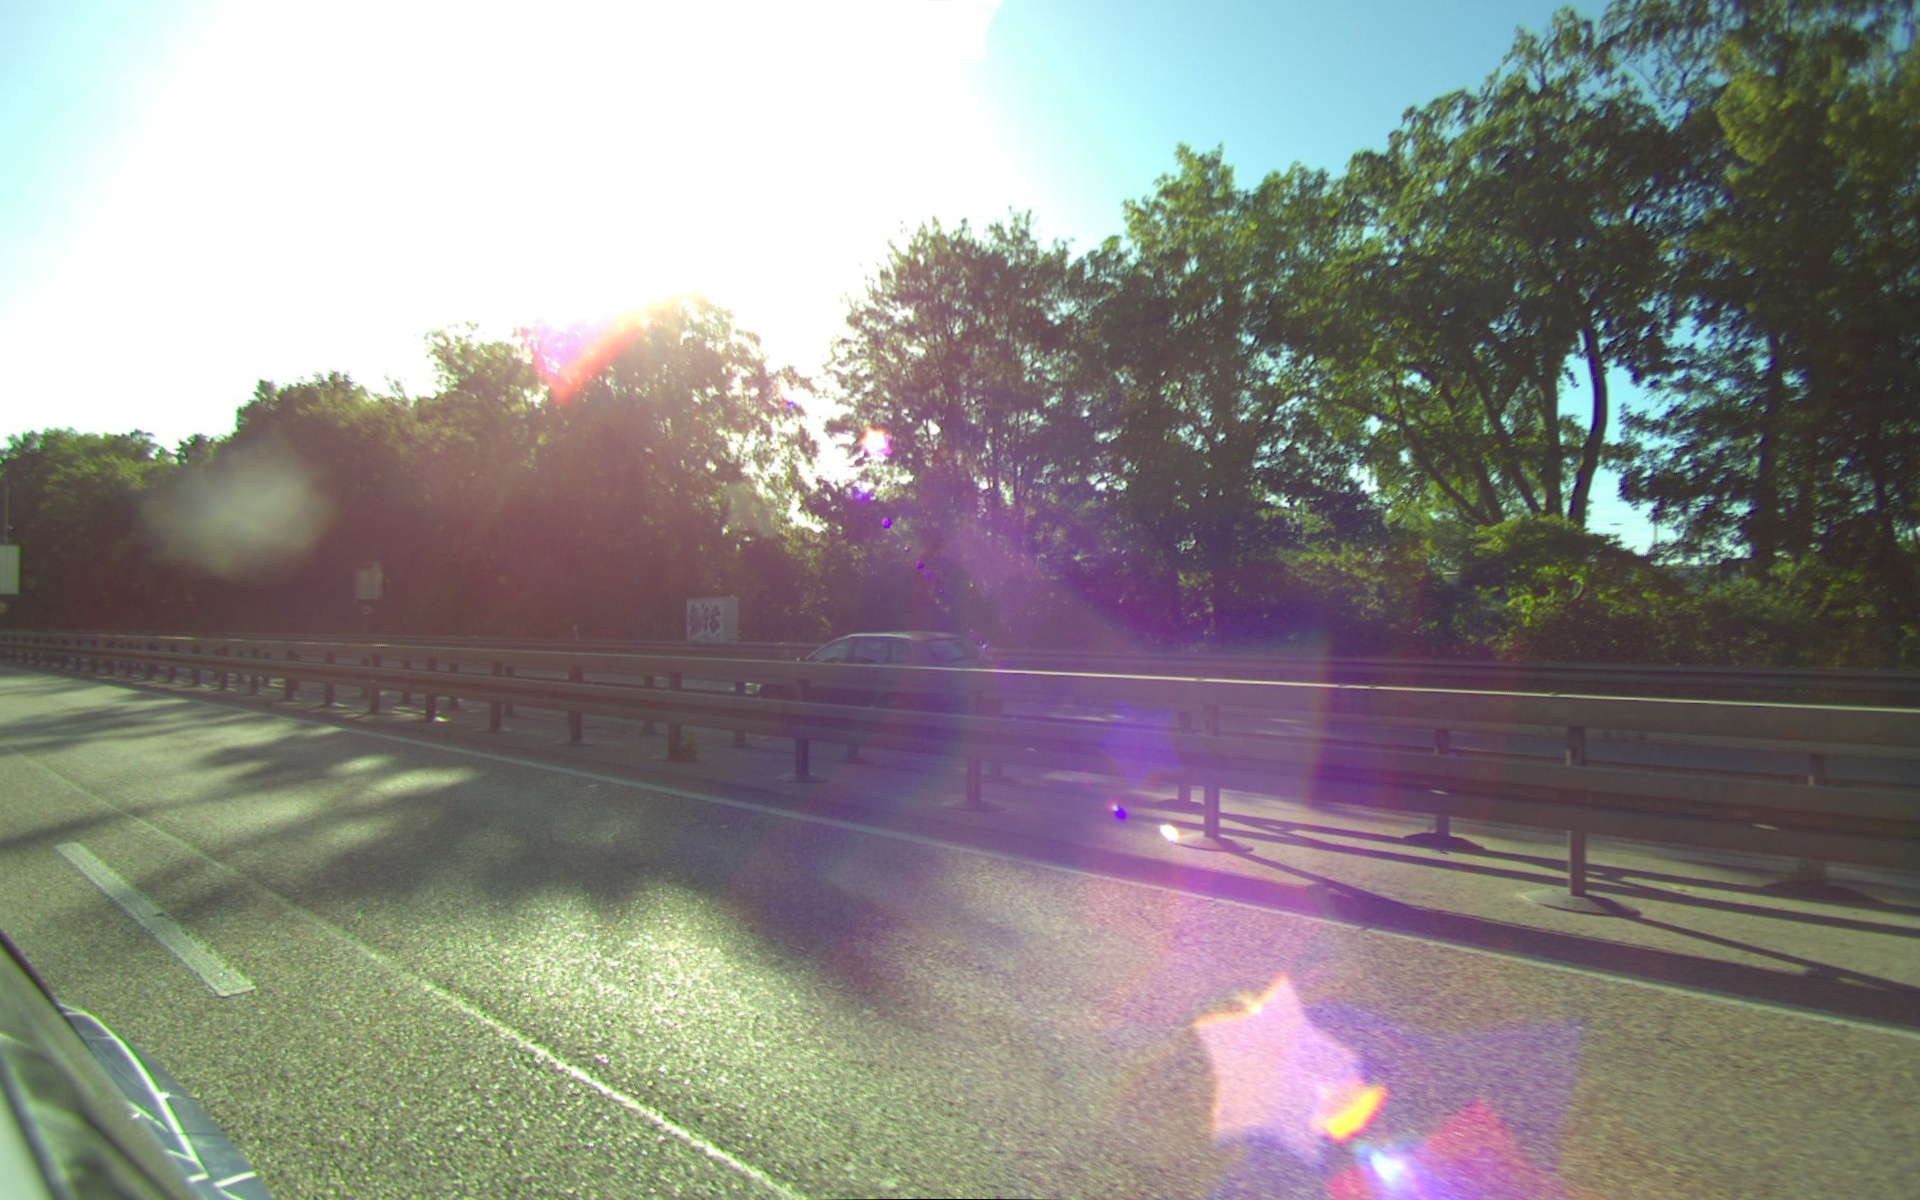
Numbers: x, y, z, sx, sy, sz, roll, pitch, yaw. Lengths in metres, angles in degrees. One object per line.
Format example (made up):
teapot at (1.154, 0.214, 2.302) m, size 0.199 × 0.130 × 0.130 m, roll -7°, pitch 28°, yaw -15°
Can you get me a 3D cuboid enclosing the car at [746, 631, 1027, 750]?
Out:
car at (-1.157, 1.202, 14.689) m, size 4.088 × 1.478 × 1.649 m, roll -1°, pitch -2°, yaw 40°
